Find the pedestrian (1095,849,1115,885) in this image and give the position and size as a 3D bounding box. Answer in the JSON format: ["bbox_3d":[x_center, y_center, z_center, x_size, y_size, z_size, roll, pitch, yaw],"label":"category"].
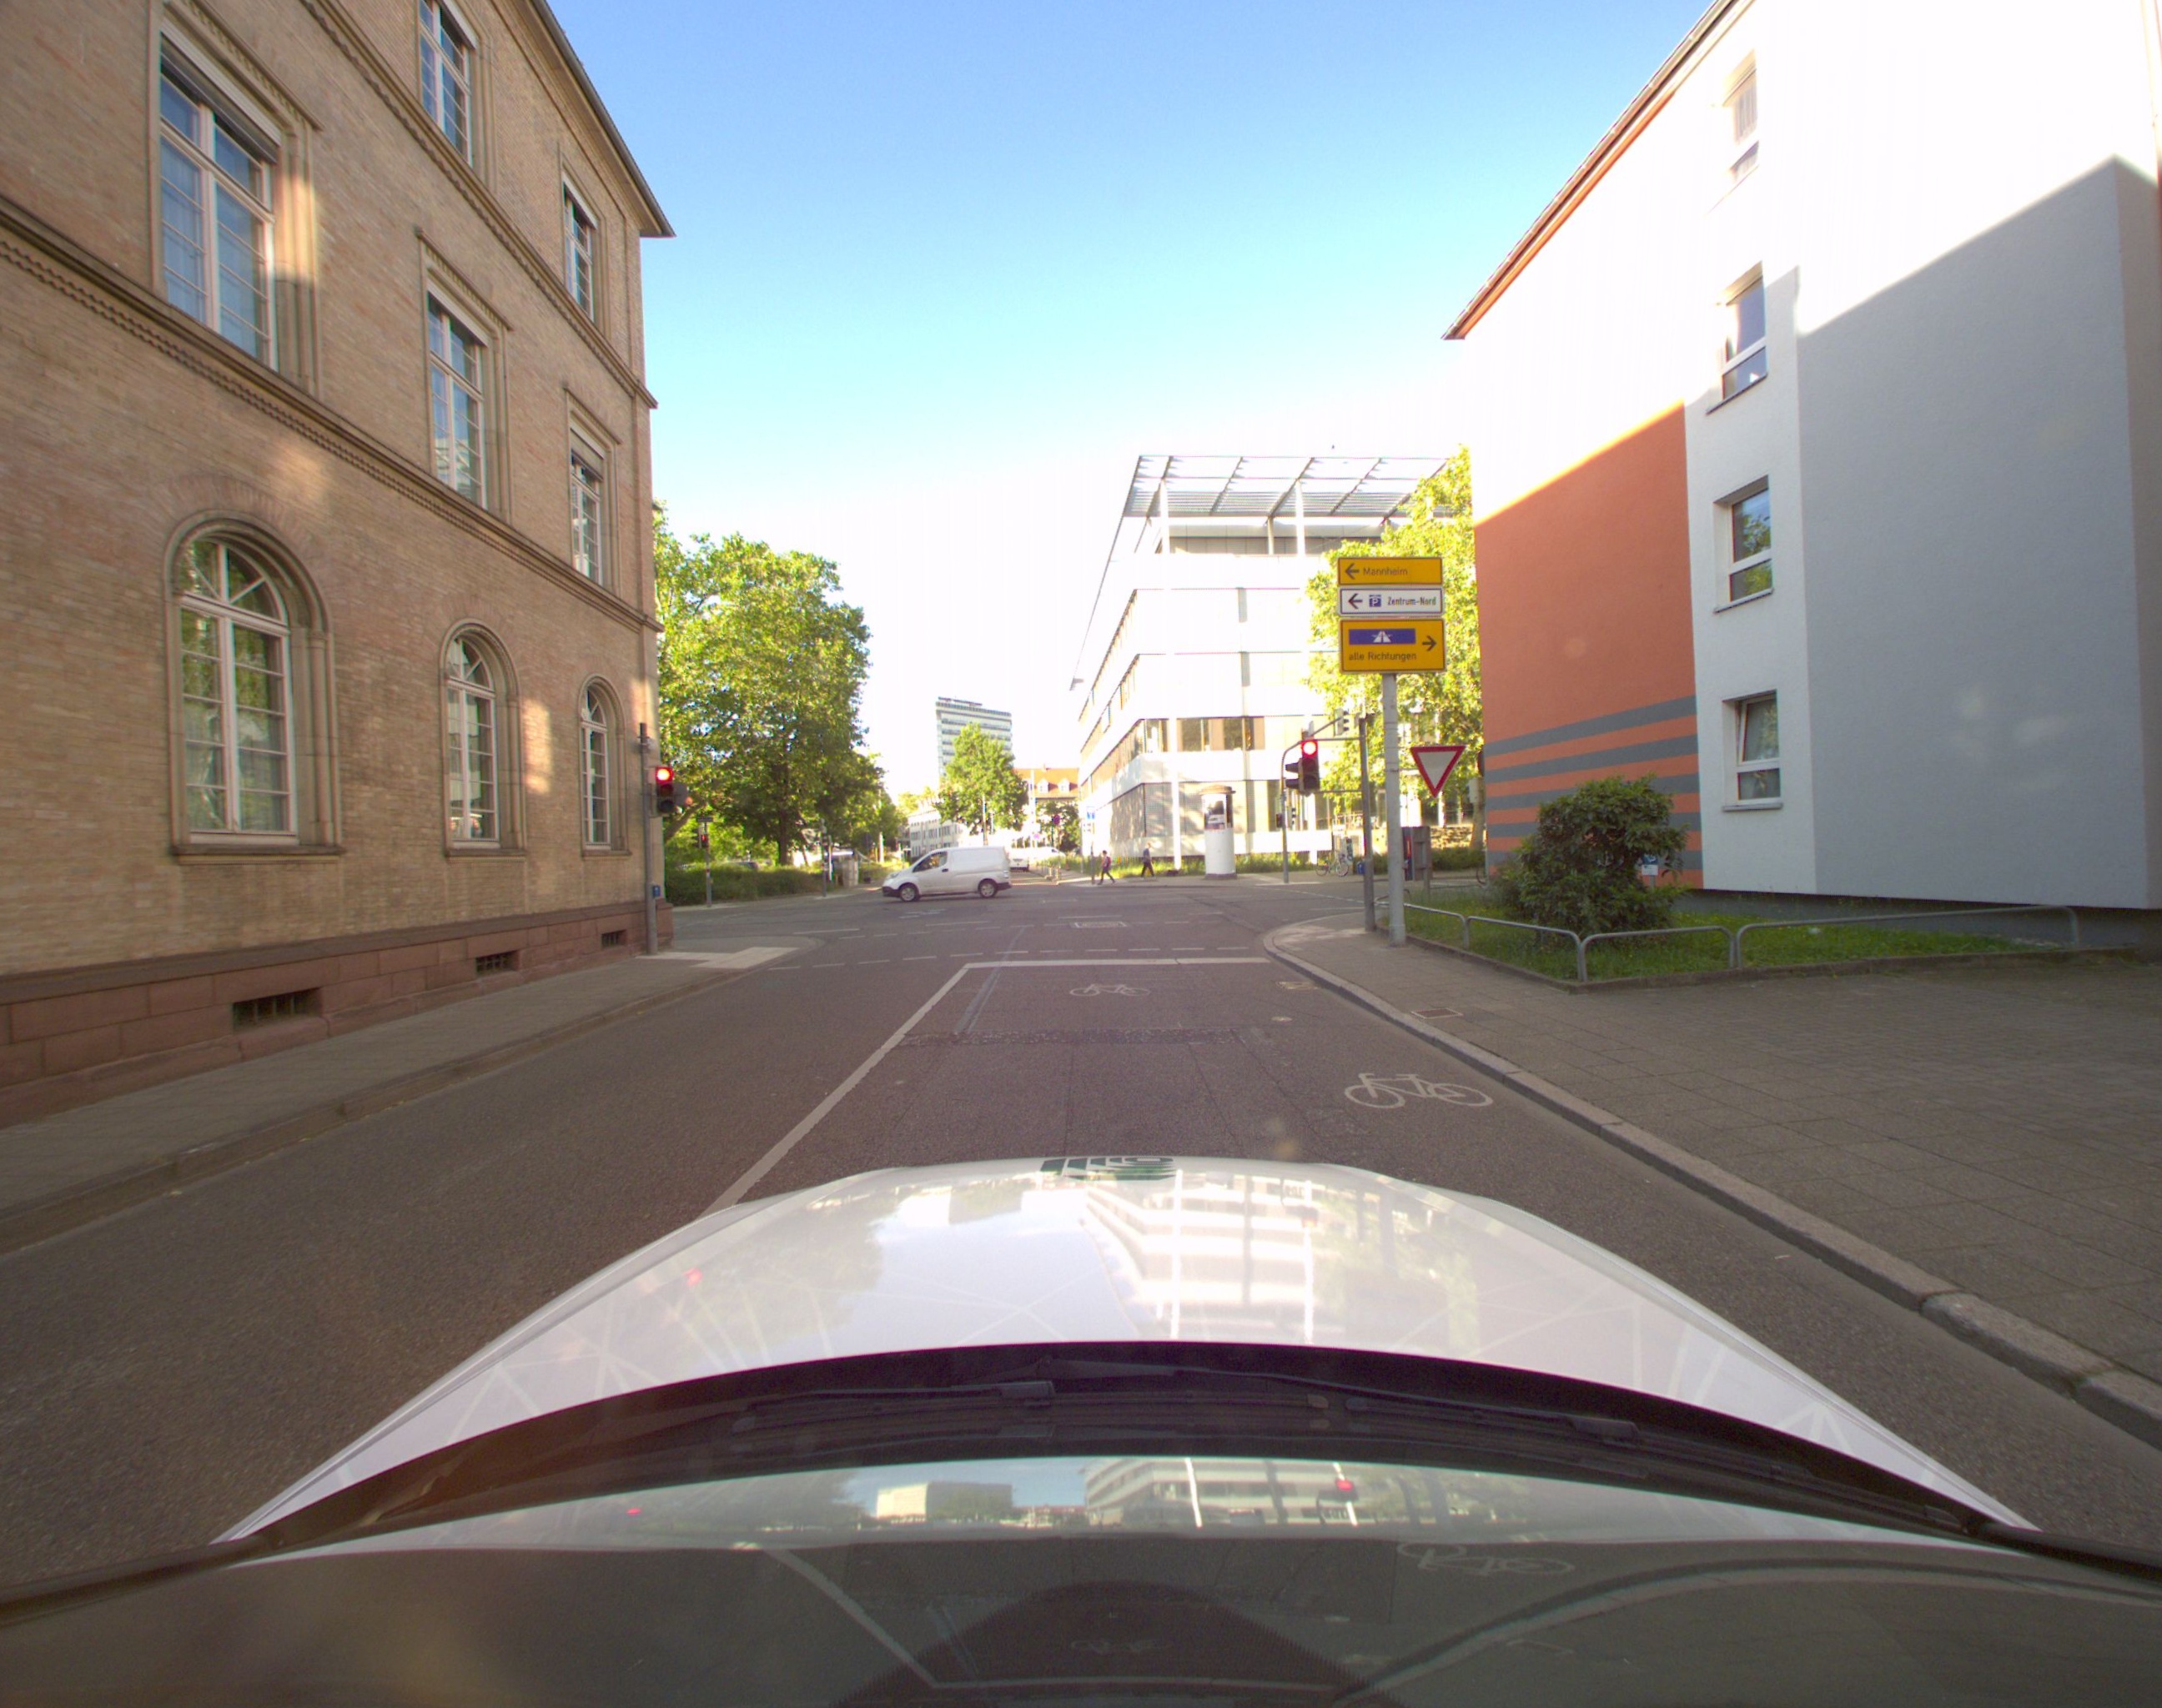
[{"bbox_3d":[1.082,0.573,36.580,0.706,1.599,0.620,-2,0,16],"label":"pedestrian"}]

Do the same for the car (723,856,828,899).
[{"bbox_3d":[-14.416,1.078,38.616,4.219,1.777,1.901,-2,0,-7],"label":"car"}]

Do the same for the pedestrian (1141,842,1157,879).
[{"bbox_3d":[3.273,0.325,39.137,0.649,1.736,0.814,-2,0,8],"label":"pedestrian"}]

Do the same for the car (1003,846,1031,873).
[{"bbox_3d":[-5.149,0.420,64.914,2.065,1.963,4.228,-2,0,-7],"label":"car"}]

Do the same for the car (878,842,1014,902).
[{"bbox_3d":[-4.675,0.607,28.752,4.533,1.799,1.634,-3,0,-5],"label":"car"}]

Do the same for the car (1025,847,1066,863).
[{"bbox_3d":[-4.543,0.142,103.147,4.889,1.872,1.990,-1,-1,-15],"label":"car"}]

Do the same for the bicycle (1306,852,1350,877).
[{"bbox_3d":[10.887,0.463,35.978,0.467,1.049,1.893,-2,0,-40],"label":"bicycle"}]
